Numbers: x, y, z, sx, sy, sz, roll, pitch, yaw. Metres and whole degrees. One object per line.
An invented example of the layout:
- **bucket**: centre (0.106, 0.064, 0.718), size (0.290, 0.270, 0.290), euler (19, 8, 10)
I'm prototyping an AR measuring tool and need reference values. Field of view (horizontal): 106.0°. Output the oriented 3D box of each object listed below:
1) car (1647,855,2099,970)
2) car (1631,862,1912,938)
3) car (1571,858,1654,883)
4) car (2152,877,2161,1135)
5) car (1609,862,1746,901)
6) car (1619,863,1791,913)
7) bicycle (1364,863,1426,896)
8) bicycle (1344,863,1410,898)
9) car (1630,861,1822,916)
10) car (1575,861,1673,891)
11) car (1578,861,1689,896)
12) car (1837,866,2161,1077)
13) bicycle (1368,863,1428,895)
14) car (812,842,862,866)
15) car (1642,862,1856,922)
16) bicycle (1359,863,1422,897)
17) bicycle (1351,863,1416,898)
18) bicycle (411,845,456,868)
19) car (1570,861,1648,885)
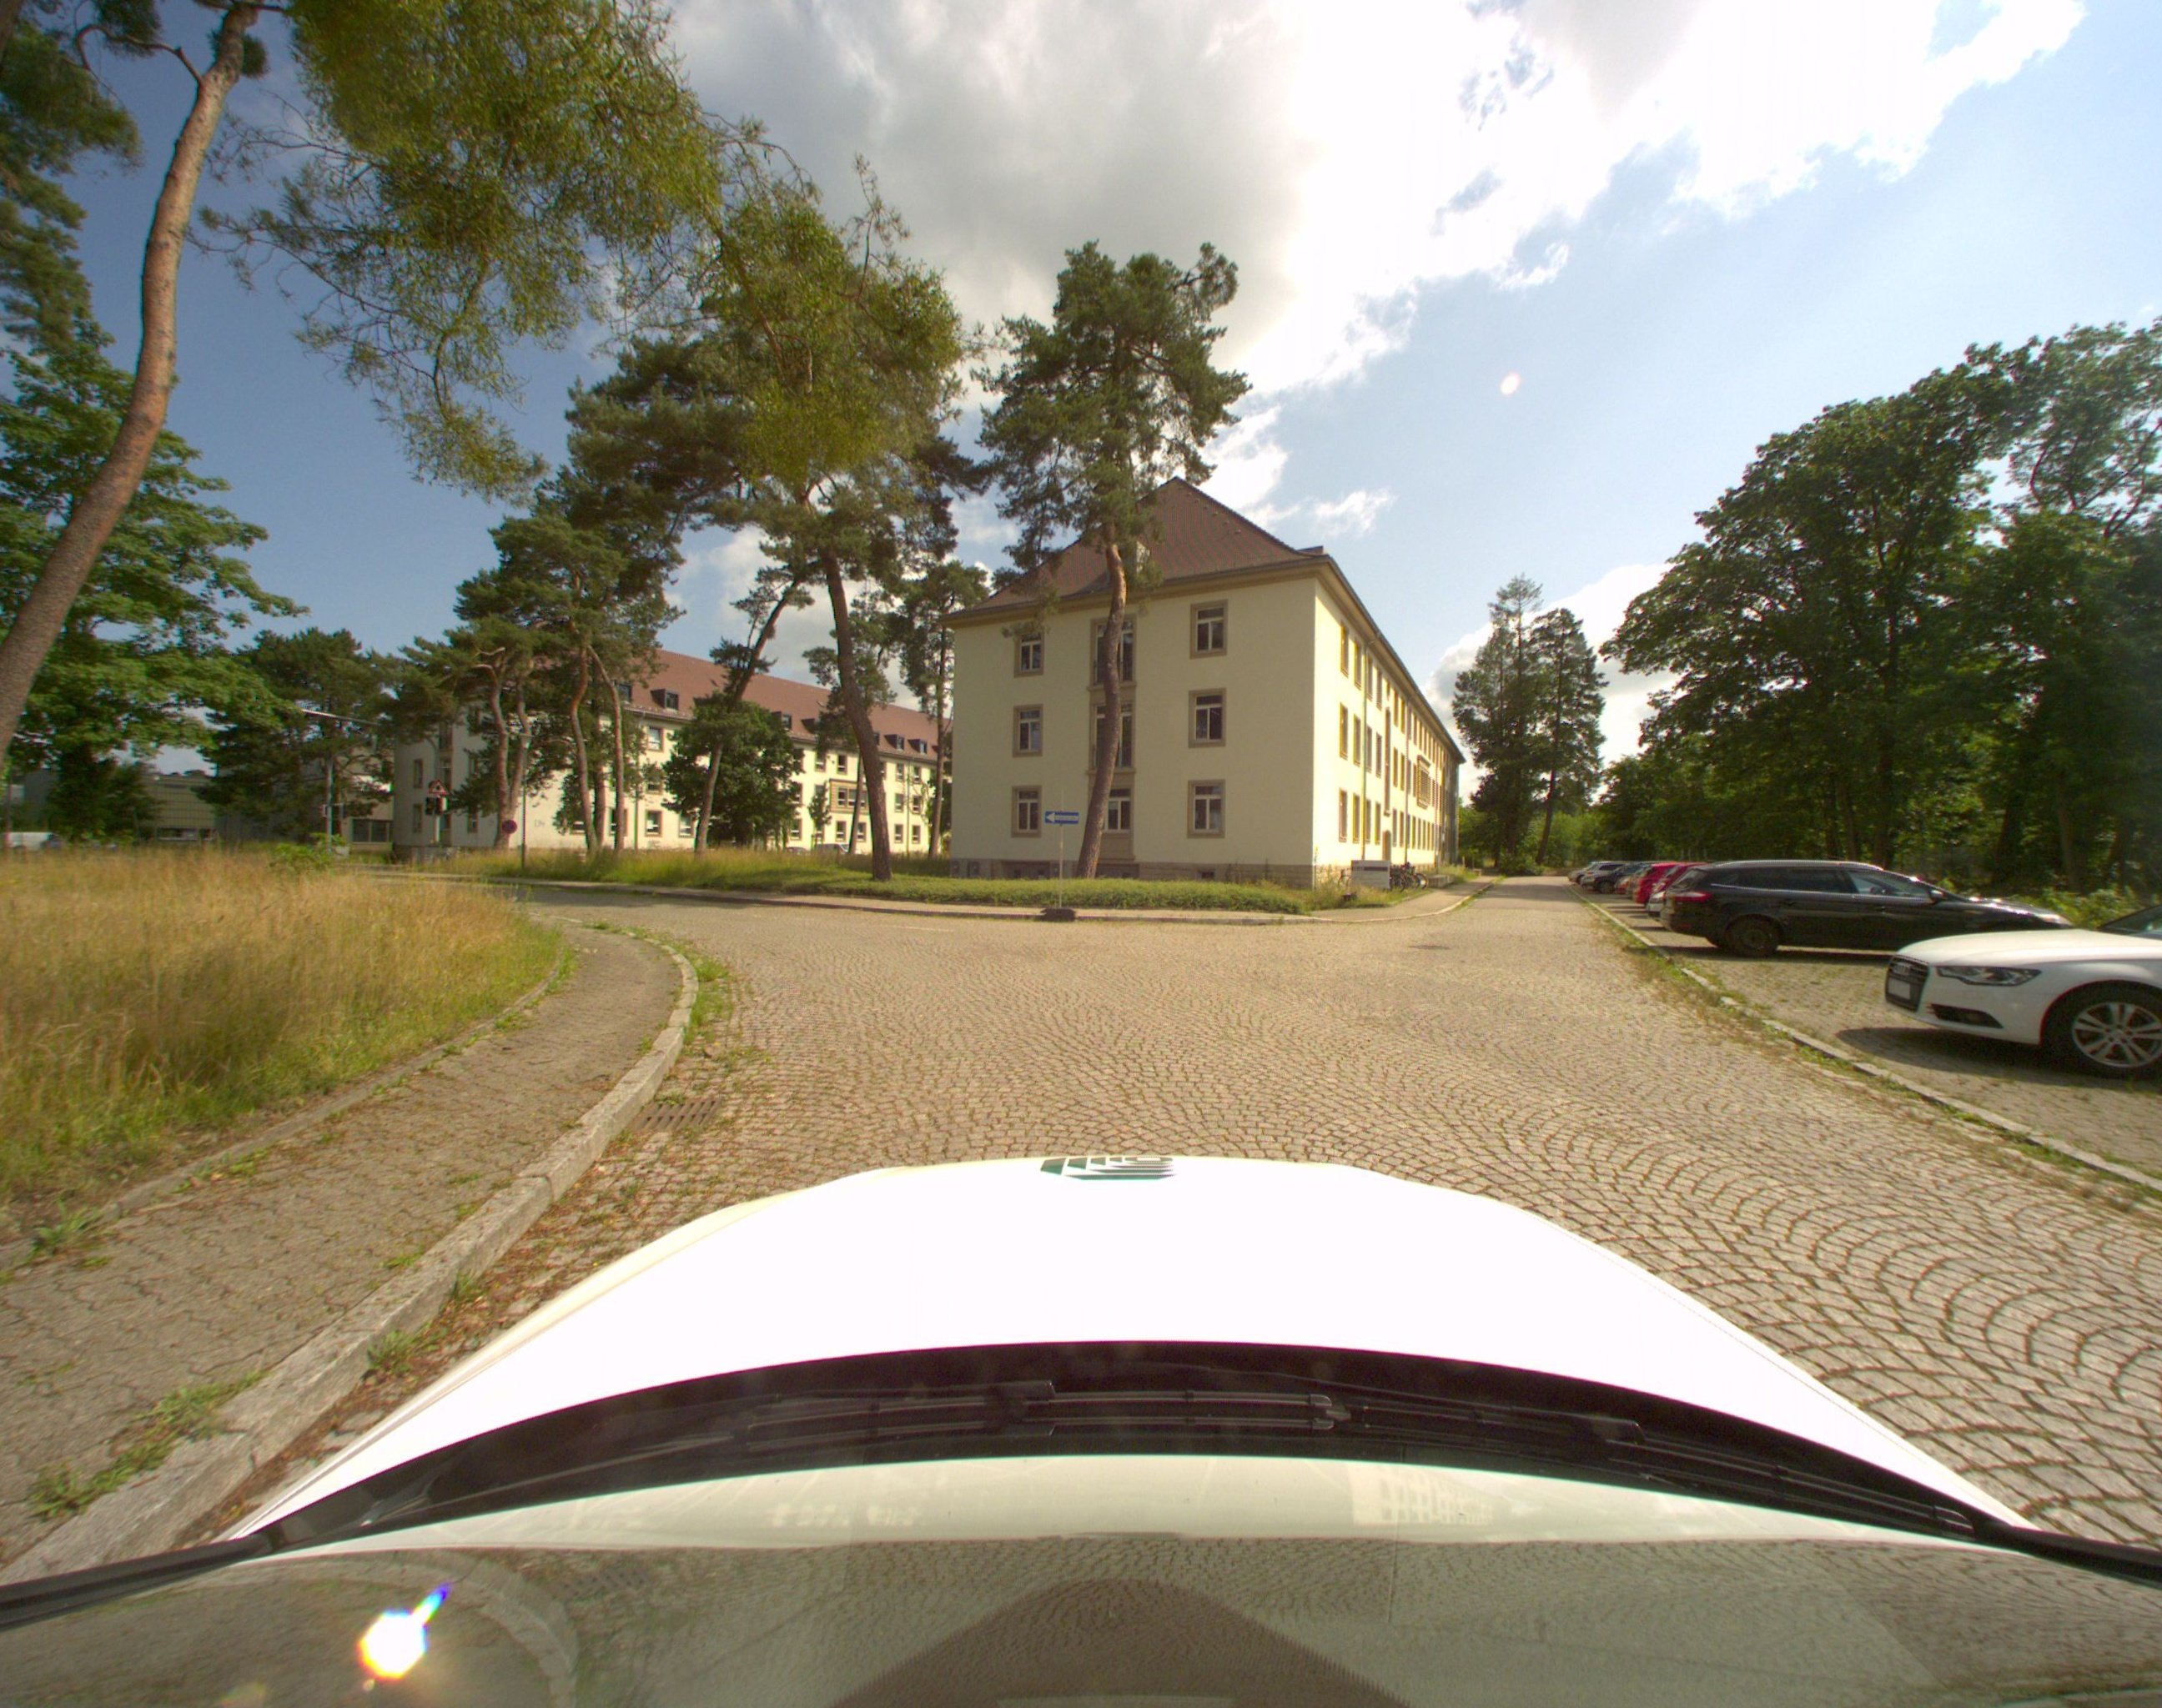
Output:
- **car**: centre (12.097, 0.833, 13.000), size (4.807, 1.553, 1.891), euler (-1, -1, 27)
- **car**: centre (14.690, 0.941, 17.697), size (4.357, 1.484, 1.776), euler (-1, -1, 27)
- **car**: centre (32.673, 1.044, 50.199), size (4.147, 1.484, 1.831), euler (-1, -1, 30)
- **car**: centre (7.997, 0.865, 3.197), size (4.288, 1.500, 1.839), euler (-1, 0, 19)
- **car**: centre (23.791, 1.072, 32.696), size (4.225, 1.484, 1.831), euler (-1, -1, 30)
- **car**: centre (19.685, 1.034, 25.955), size (4.147, 1.484, 1.831), euler (-1, -1, 30)
- **bicycle**: centre (12.416, 1.000, 32.244), size (2.201, 1.260, 0.627), euler (0, -1, 31)
- **bicycle**: centre (10.950, 0.963, 30.130), size (2.200, 1.260, 0.627), euler (0, -1, 35)
- **car**: centre (18.471, 0.961, 23.601), size (4.147, 1.484, 1.770), euler (-1, -1, 30)
- **car**: centre (28.256, 1.152, 42.559), size (4.147, 1.484, 1.831), euler (-1, -1, 30)
- **car**: centre (25.591, 1.122, 37.902), size (4.147, 1.543, 1.831), euler (-1, -1, 30)
- **car**: centre (9.231, 0.844, 6.153), size (4.816, 1.472, 1.886), euler (-1, 0, 27)
- **bicycle**: centre (12.886, 1.008, 33.143), size (2.201, 1.260, 0.627), euler (0, -1, 31)
- **car**: centre (-20.733, 0.015, 69.221), size (4.021, 1.991, 1.723), euler (0, 0, 29)
- **car**: centre (17.608, 0.967, 21.769), size (4.167, 1.484, 1.831), euler (-1, -1, 30)
- **bicycle**: centre (11.972, 0.978, 31.567), size (2.200, 1.260, 0.627), euler (0, -1, 35)
- **bicycle**: centre (11.432, 0.985, 30.786), size (2.201, 1.260, 0.627), euler (0, -1, 31)
- **bicycle**: centre (-30.602, 0.118, 38.520), size (0.485, 1.100, 1.596), euler (1, 0, 40)
- **car**: centre (34.054, 1.224, 52.669), size (4.147, 1.484, 1.831), euler (-1, -1, 30)
